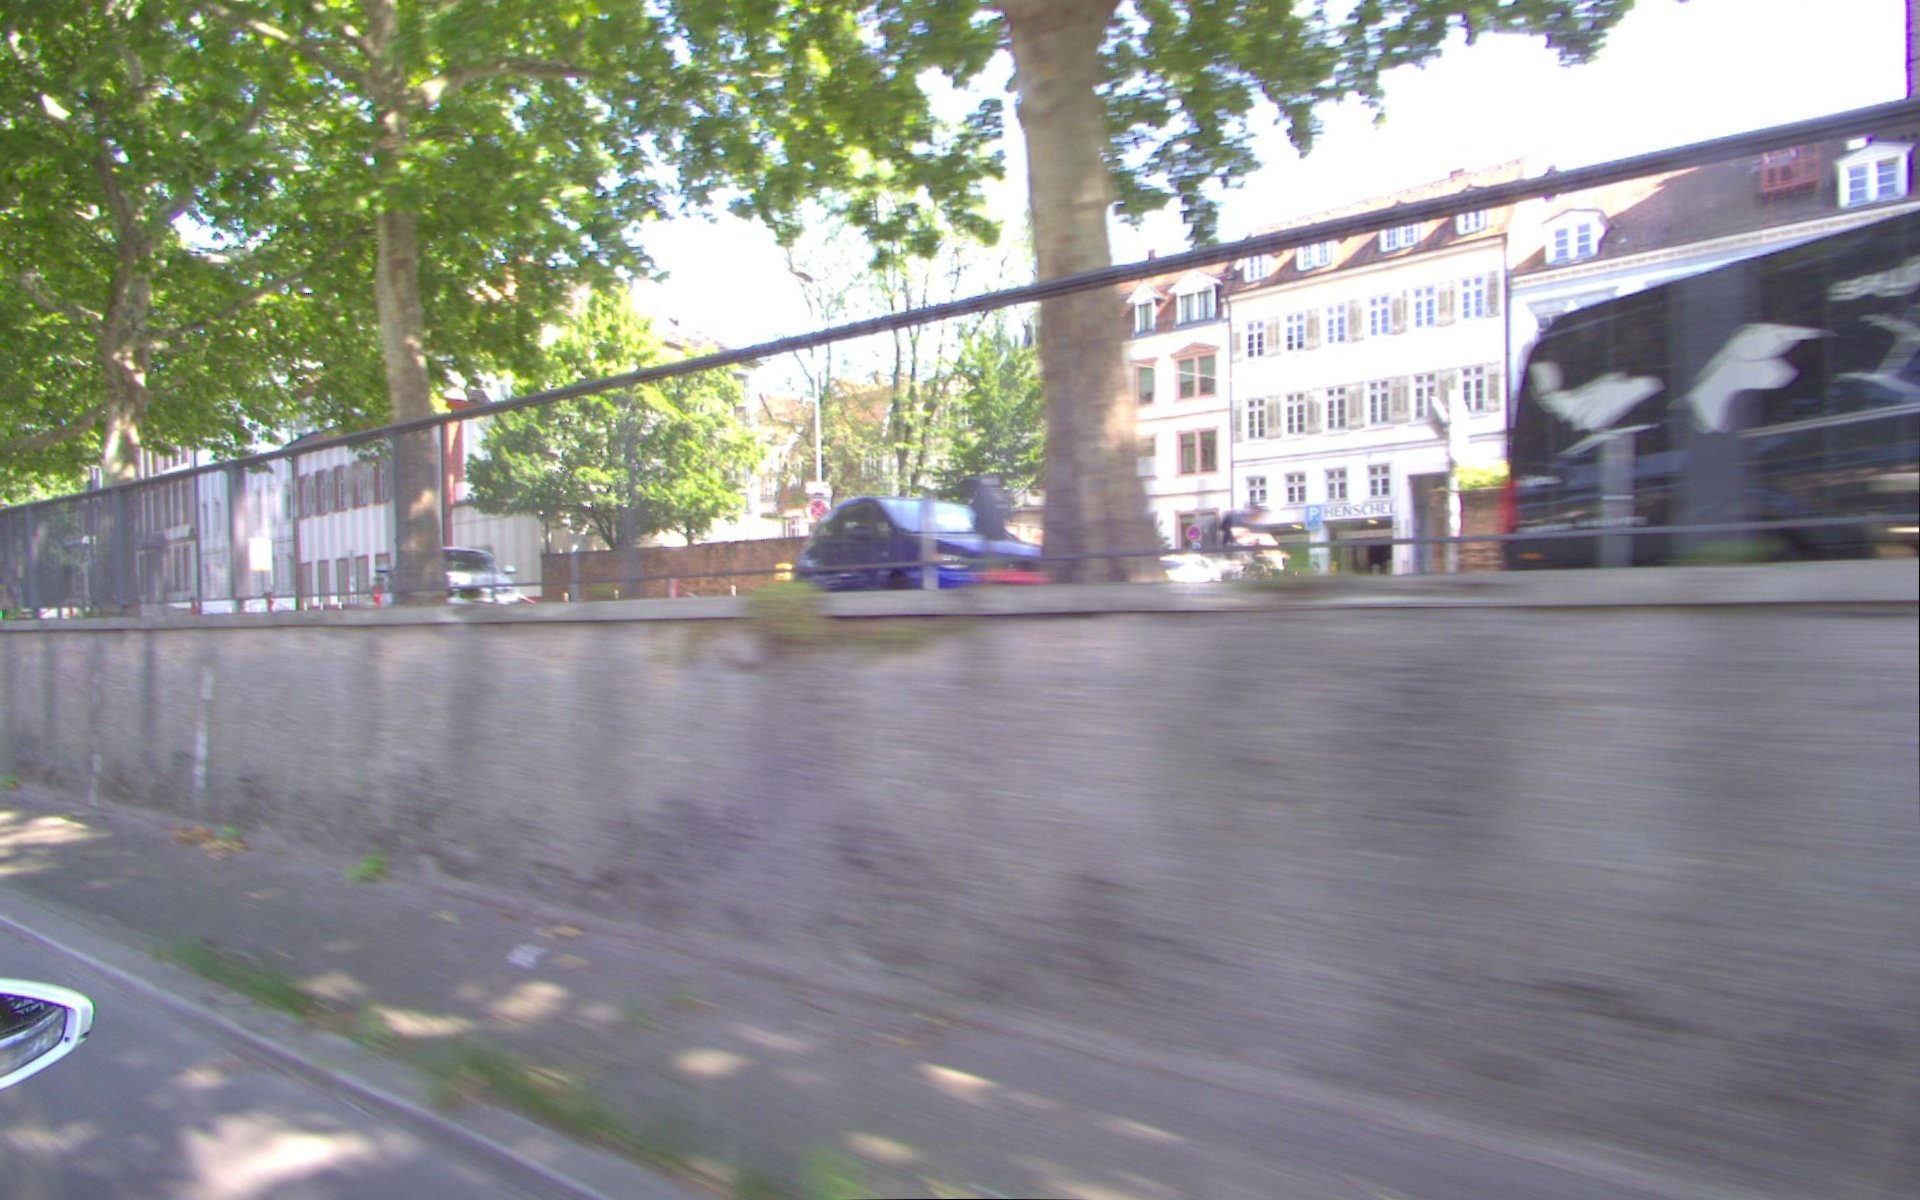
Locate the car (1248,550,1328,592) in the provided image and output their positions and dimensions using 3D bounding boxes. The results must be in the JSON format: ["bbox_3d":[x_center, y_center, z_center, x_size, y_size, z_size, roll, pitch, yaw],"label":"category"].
[{"bbox_3d":[12.951,-1.157,39.338,1.762,1.482,4.593,0,3,34],"label":"car"}]

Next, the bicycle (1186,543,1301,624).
[{"bbox_3d":[3.807,-0.192,13.549,0.414,0.988,1.533,1,-3,-39],"label":"bicycle"}]

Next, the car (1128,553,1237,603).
[{"bbox_3d":[7.027,-0.727,31.259,1.762,1.395,4.593,0,3,34],"label":"car"}]

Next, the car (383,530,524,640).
[{"bbox_3d":[-7.985,-0.162,15.692,1.754,1.488,3.981,0,-1,-29],"label":"car"}]

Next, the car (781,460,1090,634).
[{"bbox_3d":[-0.442,-0.423,10.772,1.631,1.520,3.796,0,-1,-32],"label":"car"}]

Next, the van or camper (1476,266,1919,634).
[{"bbox_3d":[7.306,-0.979,6.183,2.310,2.210,7.328,2,-3,-28],"label":"van or camper"}]

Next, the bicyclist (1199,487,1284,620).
[{"bbox_3d":[3.808,-0.595,13.569,0.696,1.704,0.838,1,-3,-40],"label":"bicyclist"}]

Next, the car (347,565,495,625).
[{"bbox_3d":[-14.170,-0.128,26.311,3.666,1.447,1.868,-1,3,34],"label":"car"}]
